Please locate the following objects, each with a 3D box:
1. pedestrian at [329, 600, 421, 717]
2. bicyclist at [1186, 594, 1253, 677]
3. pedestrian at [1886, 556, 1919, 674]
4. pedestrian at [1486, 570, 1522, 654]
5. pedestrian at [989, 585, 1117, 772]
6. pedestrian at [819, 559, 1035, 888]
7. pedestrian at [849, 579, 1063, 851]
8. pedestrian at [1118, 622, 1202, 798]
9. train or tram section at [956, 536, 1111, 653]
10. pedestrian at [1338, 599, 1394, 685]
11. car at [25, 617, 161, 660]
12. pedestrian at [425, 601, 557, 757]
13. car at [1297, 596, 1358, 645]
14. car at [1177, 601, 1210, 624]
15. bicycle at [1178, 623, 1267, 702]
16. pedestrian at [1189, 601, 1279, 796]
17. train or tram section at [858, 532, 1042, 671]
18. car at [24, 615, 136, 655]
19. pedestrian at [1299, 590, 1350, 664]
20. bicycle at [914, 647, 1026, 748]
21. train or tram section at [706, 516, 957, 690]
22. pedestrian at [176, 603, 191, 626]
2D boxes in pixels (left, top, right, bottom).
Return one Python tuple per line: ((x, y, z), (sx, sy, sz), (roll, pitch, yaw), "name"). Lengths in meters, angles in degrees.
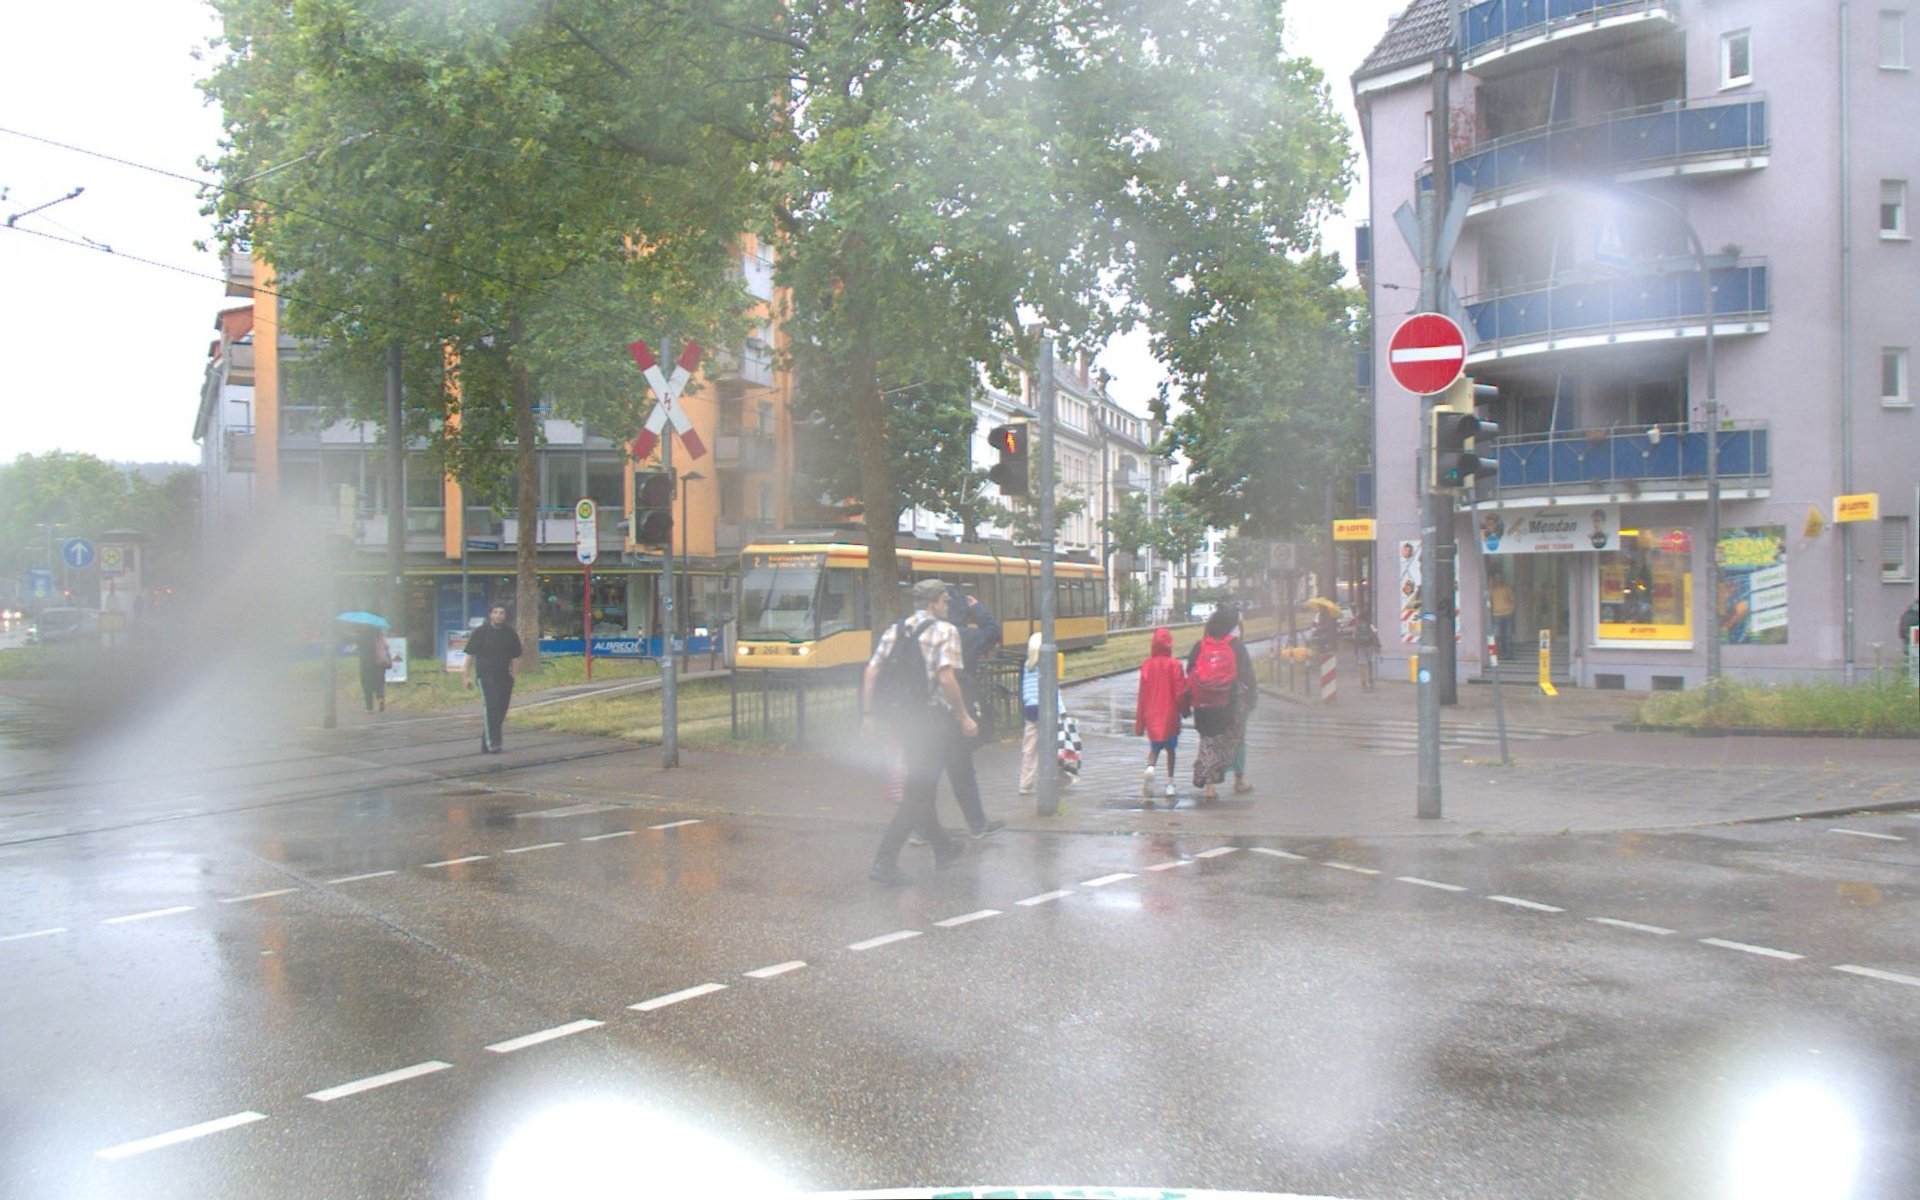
((-9.953, 0.968, 28.118), (1.161, 1.897, 1.368), (0, 0, -35), "pedestrian")
((4.317, 0.571, 27.579), (0.728, 1.332, 1.073), (-1, 0, -14), "bicyclist")
((15.026, 0.222, 25.987), (0.616, 1.835, 0.634), (-1, 0, -39), "pedestrian")
((10.644, 0.234, 32.376), (0.465, 1.630, 0.590), (0, 0, 42), "pedestrian")
((0.826, 0.652, 14.394), (0.857, 1.552, 1.065), (-1, 0, 18), "pedestrian")
((-0.189, 0.678, 9.785), (0.798, 1.812, 0.988), (-1, 1, 44), "pedestrian")
((-0.026, 0.729, 11.224), (1.048, 1.716, 0.980), (-1, 1, -43), "pedestrian")
((1.681, 0.909, 14.006), (0.657, 1.406, 1.011), (-1, 0, 6), "pedestrian")
((2.590, -0.156, 53.718), (2.582, 3.410, 9.992), (0, 0, 17), "train or tram section")
((7.650, 0.786, 31.151), (0.970, 1.586, 0.784), (-1, 0, 17), "pedestrian")
((-32.891, 1.438, 62.878), (4.479, 1.496, 1.966), (-1, 0, -27), "car")
((-5.694, 0.924, 20.081), (1.214, 1.820, 1.033), (-1, 0, 40), "pedestrian")
((13.520, 0.714, 60.645), (1.951, 1.702, 4.003), (-1, 0, 16), "car")
((16.055, 0.847, 113.504), (1.951, 1.560, 4.003), (0, 0, 13), "car")
((4.351, 1.017, 27.526), (0.738, 1.193, 2.034), (-1, 1, -13), "bicycle")
((2.292, 0.808, 13.911), (0.675, 1.575, 0.762), (-1, 0, 6), "pedestrian")
((-0.075, 0.049, 44.920), (2.582, 3.410, 8.381), (0, 0, 17), "train or tram section")
((-37.493, 1.490, 70.541), (4.143, 1.596, 1.871), (-1, 0, -29), "car")
((8.678, 0.637, 39.331), (0.935, 1.727, 0.919), (-1, 0, 31), "pedestrian")
((0.135, 1.134, 19.645), (0.437, 1.095, 1.611), (-1, 0, 38), "bicycle")
((-2.595, 0.070, 36.946), (2.582, 3.428, 8.380), (0, 0, 18), "train or tram section")
((-61.431, 1.147, 130.843), (1.048, 1.842, 1.086), (0, 0, -22), "pedestrian")
